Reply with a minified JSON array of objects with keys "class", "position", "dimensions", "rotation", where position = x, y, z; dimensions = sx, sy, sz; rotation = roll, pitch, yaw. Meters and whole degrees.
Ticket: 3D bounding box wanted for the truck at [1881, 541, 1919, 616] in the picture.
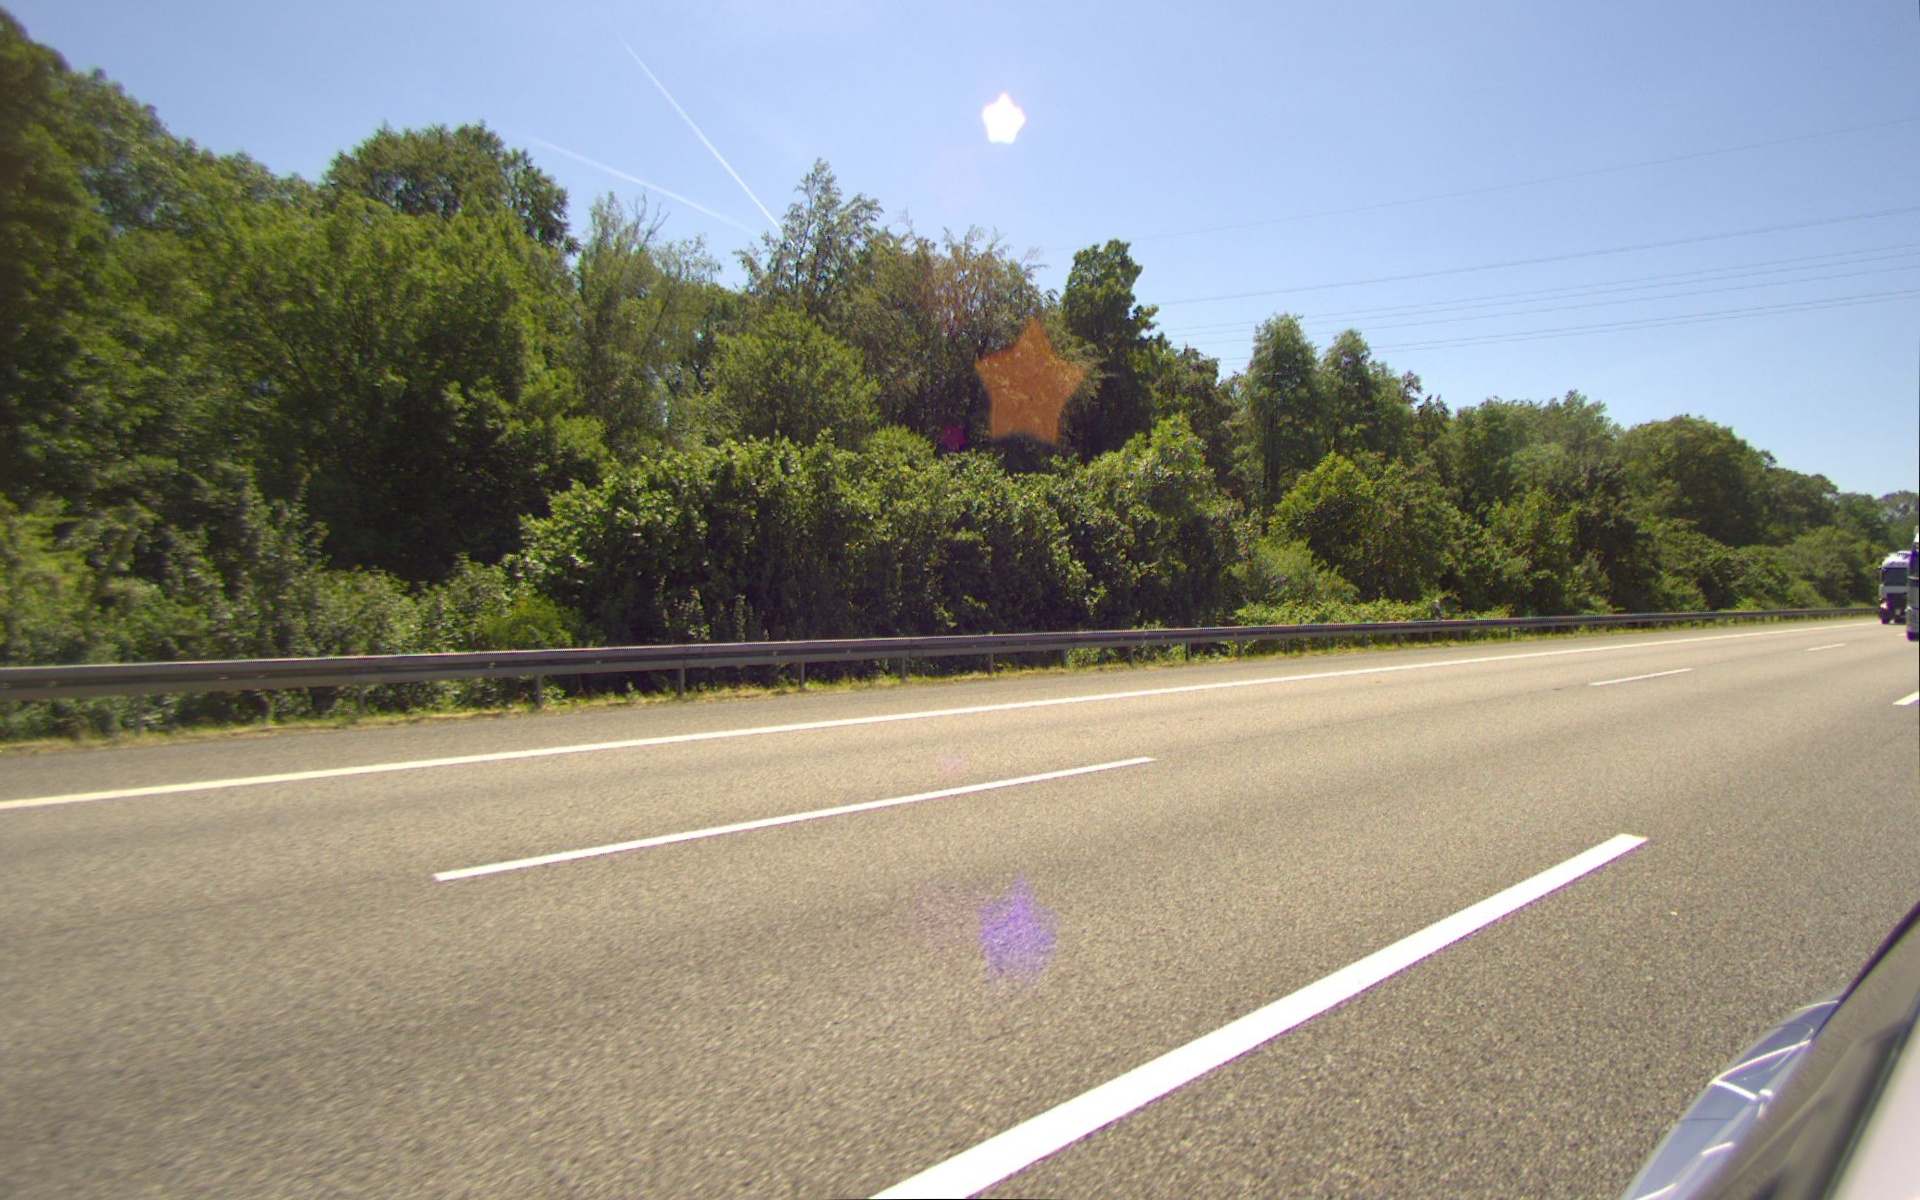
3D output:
[{"class":"truck","position":[57.195,-1.223,59.103],"dimensions":[14.194,4.020,3.048],"rotation":[0,0,-39]}]
